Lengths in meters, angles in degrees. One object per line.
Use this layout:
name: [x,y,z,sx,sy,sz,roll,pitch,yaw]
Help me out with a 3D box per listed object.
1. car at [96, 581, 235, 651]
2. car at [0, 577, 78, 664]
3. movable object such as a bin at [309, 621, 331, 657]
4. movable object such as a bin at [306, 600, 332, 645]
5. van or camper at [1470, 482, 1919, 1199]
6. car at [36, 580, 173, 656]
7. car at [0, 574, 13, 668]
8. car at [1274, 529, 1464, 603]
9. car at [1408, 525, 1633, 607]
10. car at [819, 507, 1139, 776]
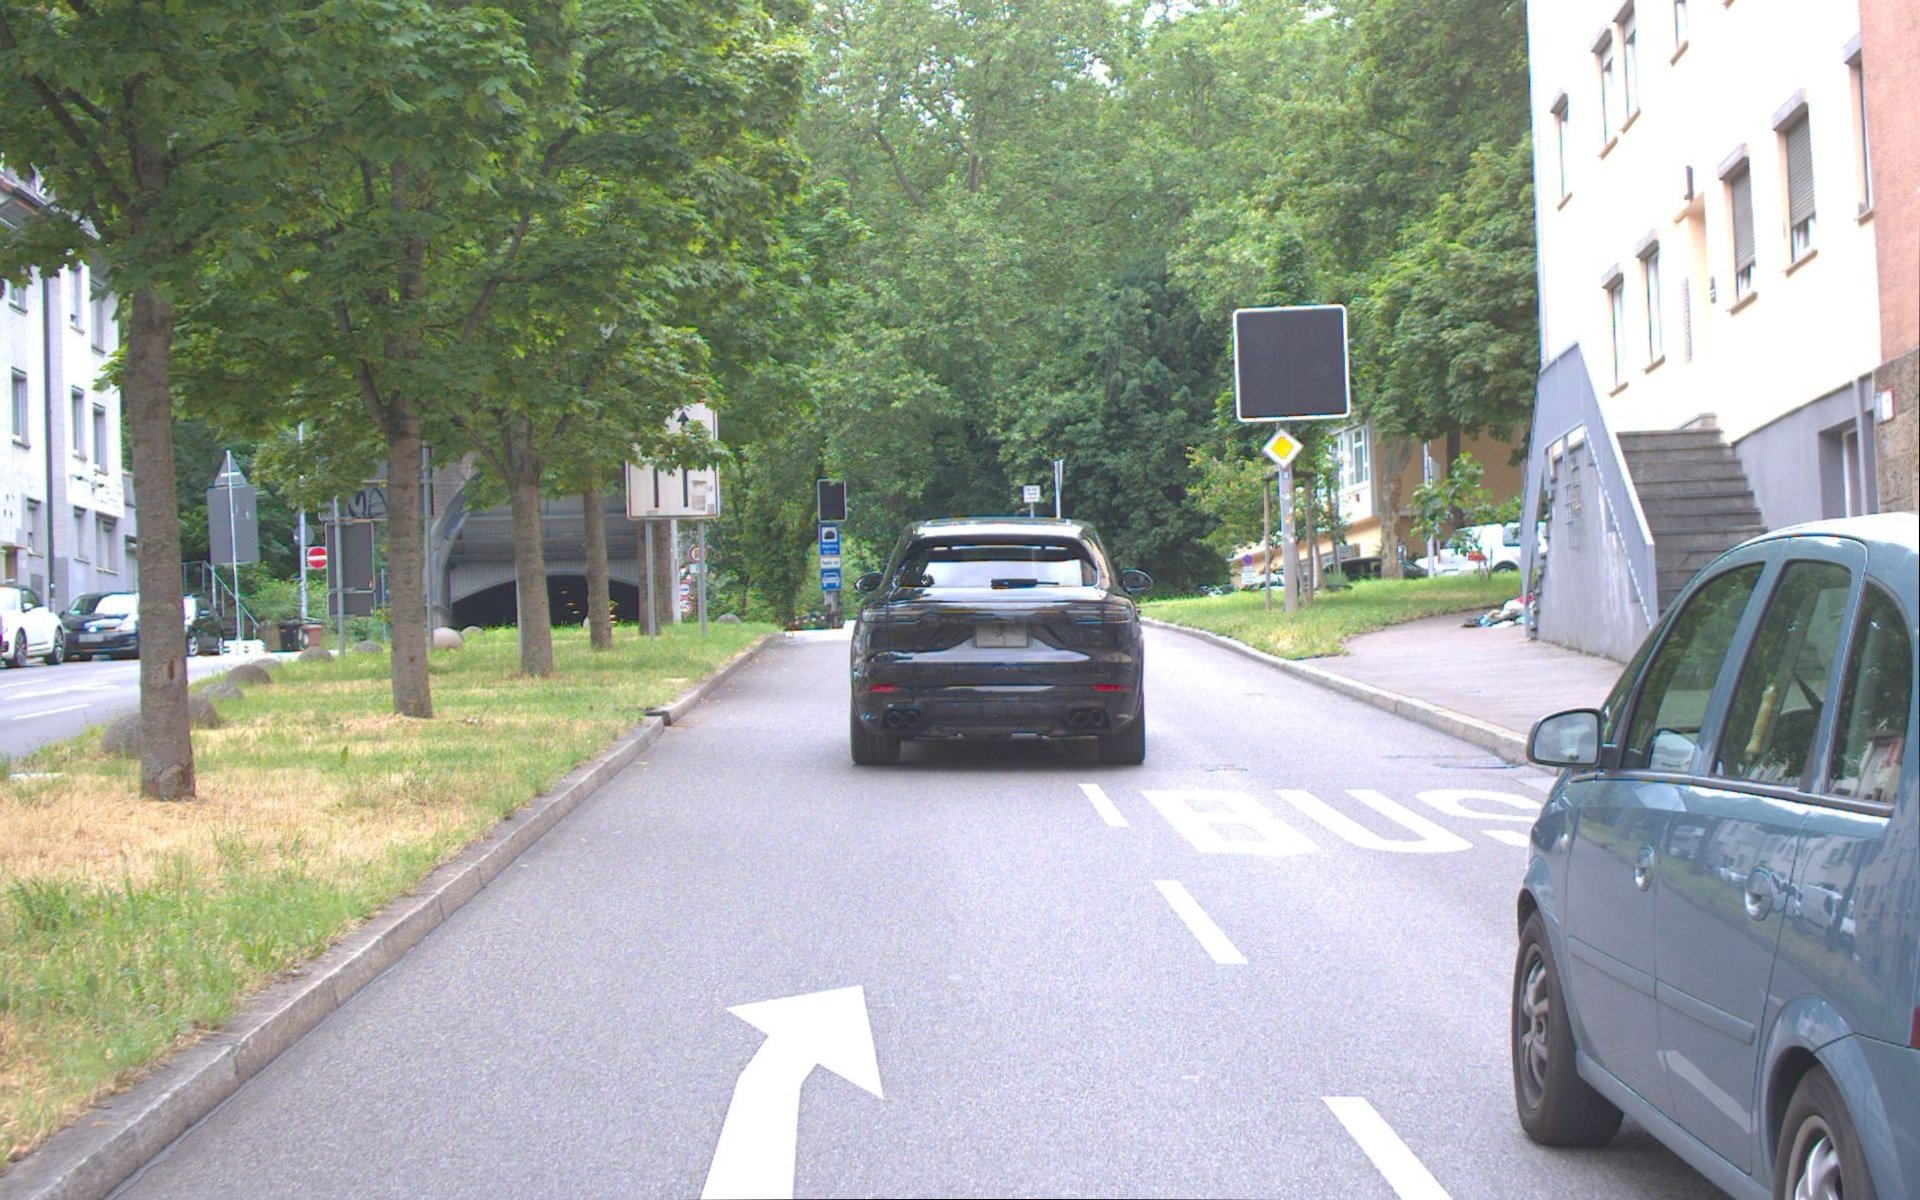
car: [-17.315,0.349,75.119,1.993,1.396,4.518,-2,0,-1]
car: [-17.041,0.367,60.438,1.993,1.469,4.158,-2,0,-1]
movable object such as a bin: [-17.085,1.044,91.801,0.515,0.964,0.444,2,-2,-16]
movable object such as a bin: [-17.203,0.607,92.308,0.604,1.182,0.492,2,-2,-16]
van or camper: [2.240,0.582,7.143,1.735,1.572,3.646,0,1,-1]
car: [-17.295,0.341,69.681,1.993,1.418,4.212,-2,0,-5]
car: [-16.774,0.390,55.220,1.993,1.547,4.382,-2,0,-2]
car: [8.828,-0.731,74.041,1.998,1.413,3.990,-2,1,44]
car: [11.350,-0.692,69.633,4.116,1.423,1.863,-3,1,-25]
car: [0.138,0.272,24.175,1.993,1.647,4.000,-3,0,0]
